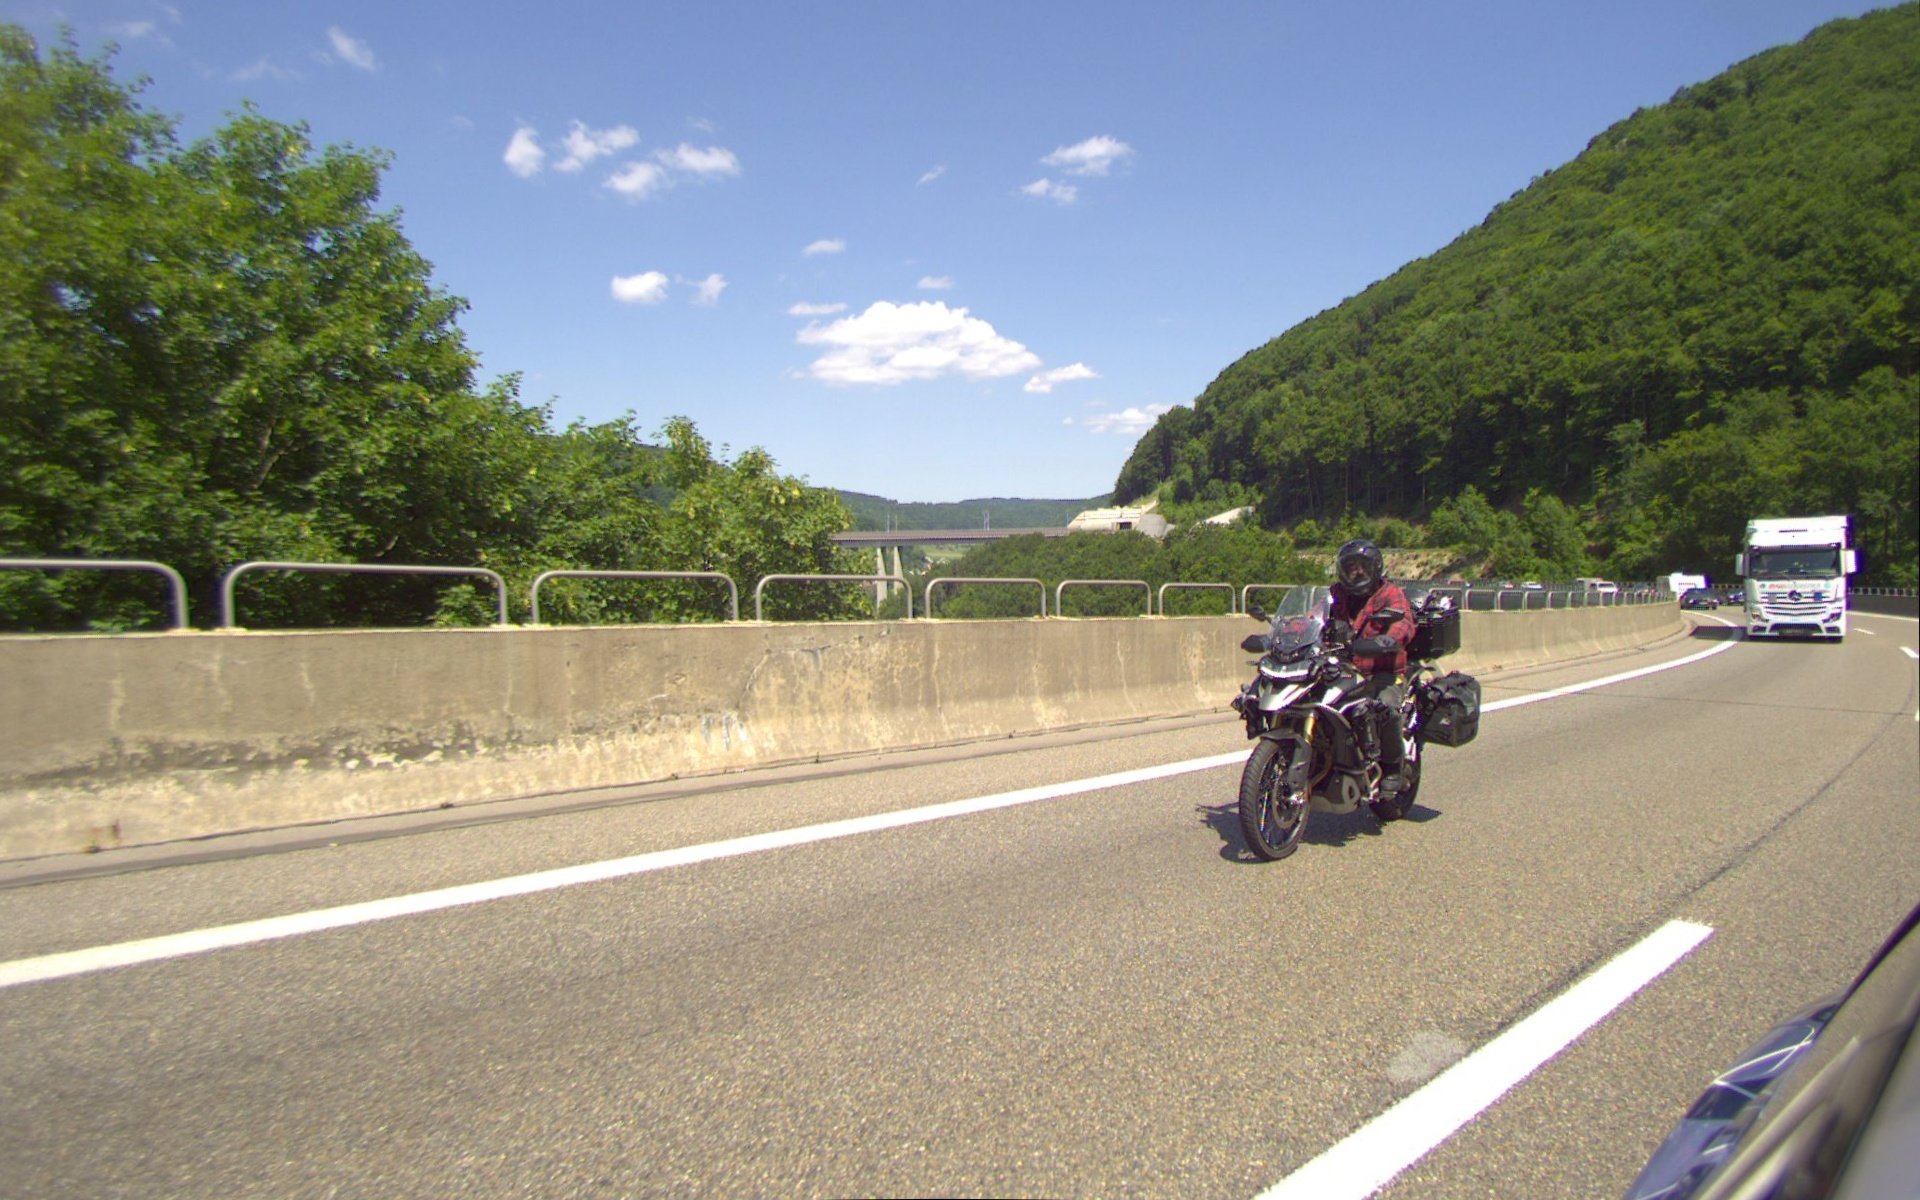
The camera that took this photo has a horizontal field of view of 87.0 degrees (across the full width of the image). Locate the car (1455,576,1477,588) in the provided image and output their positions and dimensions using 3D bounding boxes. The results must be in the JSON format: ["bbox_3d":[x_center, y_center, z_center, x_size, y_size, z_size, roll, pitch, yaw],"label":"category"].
[{"bbox_3d":[86.413,-3.057,172.765,1.964,2.039,3.996,1,1,4],"label":"car"}]

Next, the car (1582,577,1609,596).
[{"bbox_3d":[72.042,-1.525,114.752,1.977,2.039,3.970,1,1,23],"label":"car"}]

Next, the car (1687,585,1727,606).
[{"bbox_3d":[55.810,-0.310,75.671,1.739,1.507,3.945,1,1,27],"label":"car"}]

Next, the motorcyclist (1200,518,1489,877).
[{"bbox_3d":[2.264,0.483,5.963,1.314,1.823,1.063,0,1,-38],"label":"motorcyclist"}]

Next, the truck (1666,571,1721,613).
[{"bbox_3d":[58.233,-0.663,80.466,2.595,3.141,6.787,1,1,28],"label":"truck"}]

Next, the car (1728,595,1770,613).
[{"bbox_3d":[65.016,0.319,83.450,1.981,1.471,3.962,1,1,27],"label":"car"}]

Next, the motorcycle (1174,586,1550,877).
[{"bbox_3d":[2.555,0.646,6.231,2.632,1.437,0.975,0,1,-39],"label":"motorcycle"}]

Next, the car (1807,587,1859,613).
[{"bbox_3d":[54.753,-0.022,63.550,1.742,1.507,3.939,1,1,31],"label":"car"}]

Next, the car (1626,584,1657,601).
[{"bbox_3d":[75.728,-0.813,112.545,1.976,1.816,3.972,1,1,21],"label":"car"}]

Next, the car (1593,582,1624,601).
[{"bbox_3d":[69.740,-0.935,108.927,1.976,2.039,3.973,1,1,21],"label":"car"}]

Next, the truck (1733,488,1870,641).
[{"bbox_3d":[29.125,-1.038,34.908,2.958,4.184,16.460,1,1,41],"label":"truck"}]
